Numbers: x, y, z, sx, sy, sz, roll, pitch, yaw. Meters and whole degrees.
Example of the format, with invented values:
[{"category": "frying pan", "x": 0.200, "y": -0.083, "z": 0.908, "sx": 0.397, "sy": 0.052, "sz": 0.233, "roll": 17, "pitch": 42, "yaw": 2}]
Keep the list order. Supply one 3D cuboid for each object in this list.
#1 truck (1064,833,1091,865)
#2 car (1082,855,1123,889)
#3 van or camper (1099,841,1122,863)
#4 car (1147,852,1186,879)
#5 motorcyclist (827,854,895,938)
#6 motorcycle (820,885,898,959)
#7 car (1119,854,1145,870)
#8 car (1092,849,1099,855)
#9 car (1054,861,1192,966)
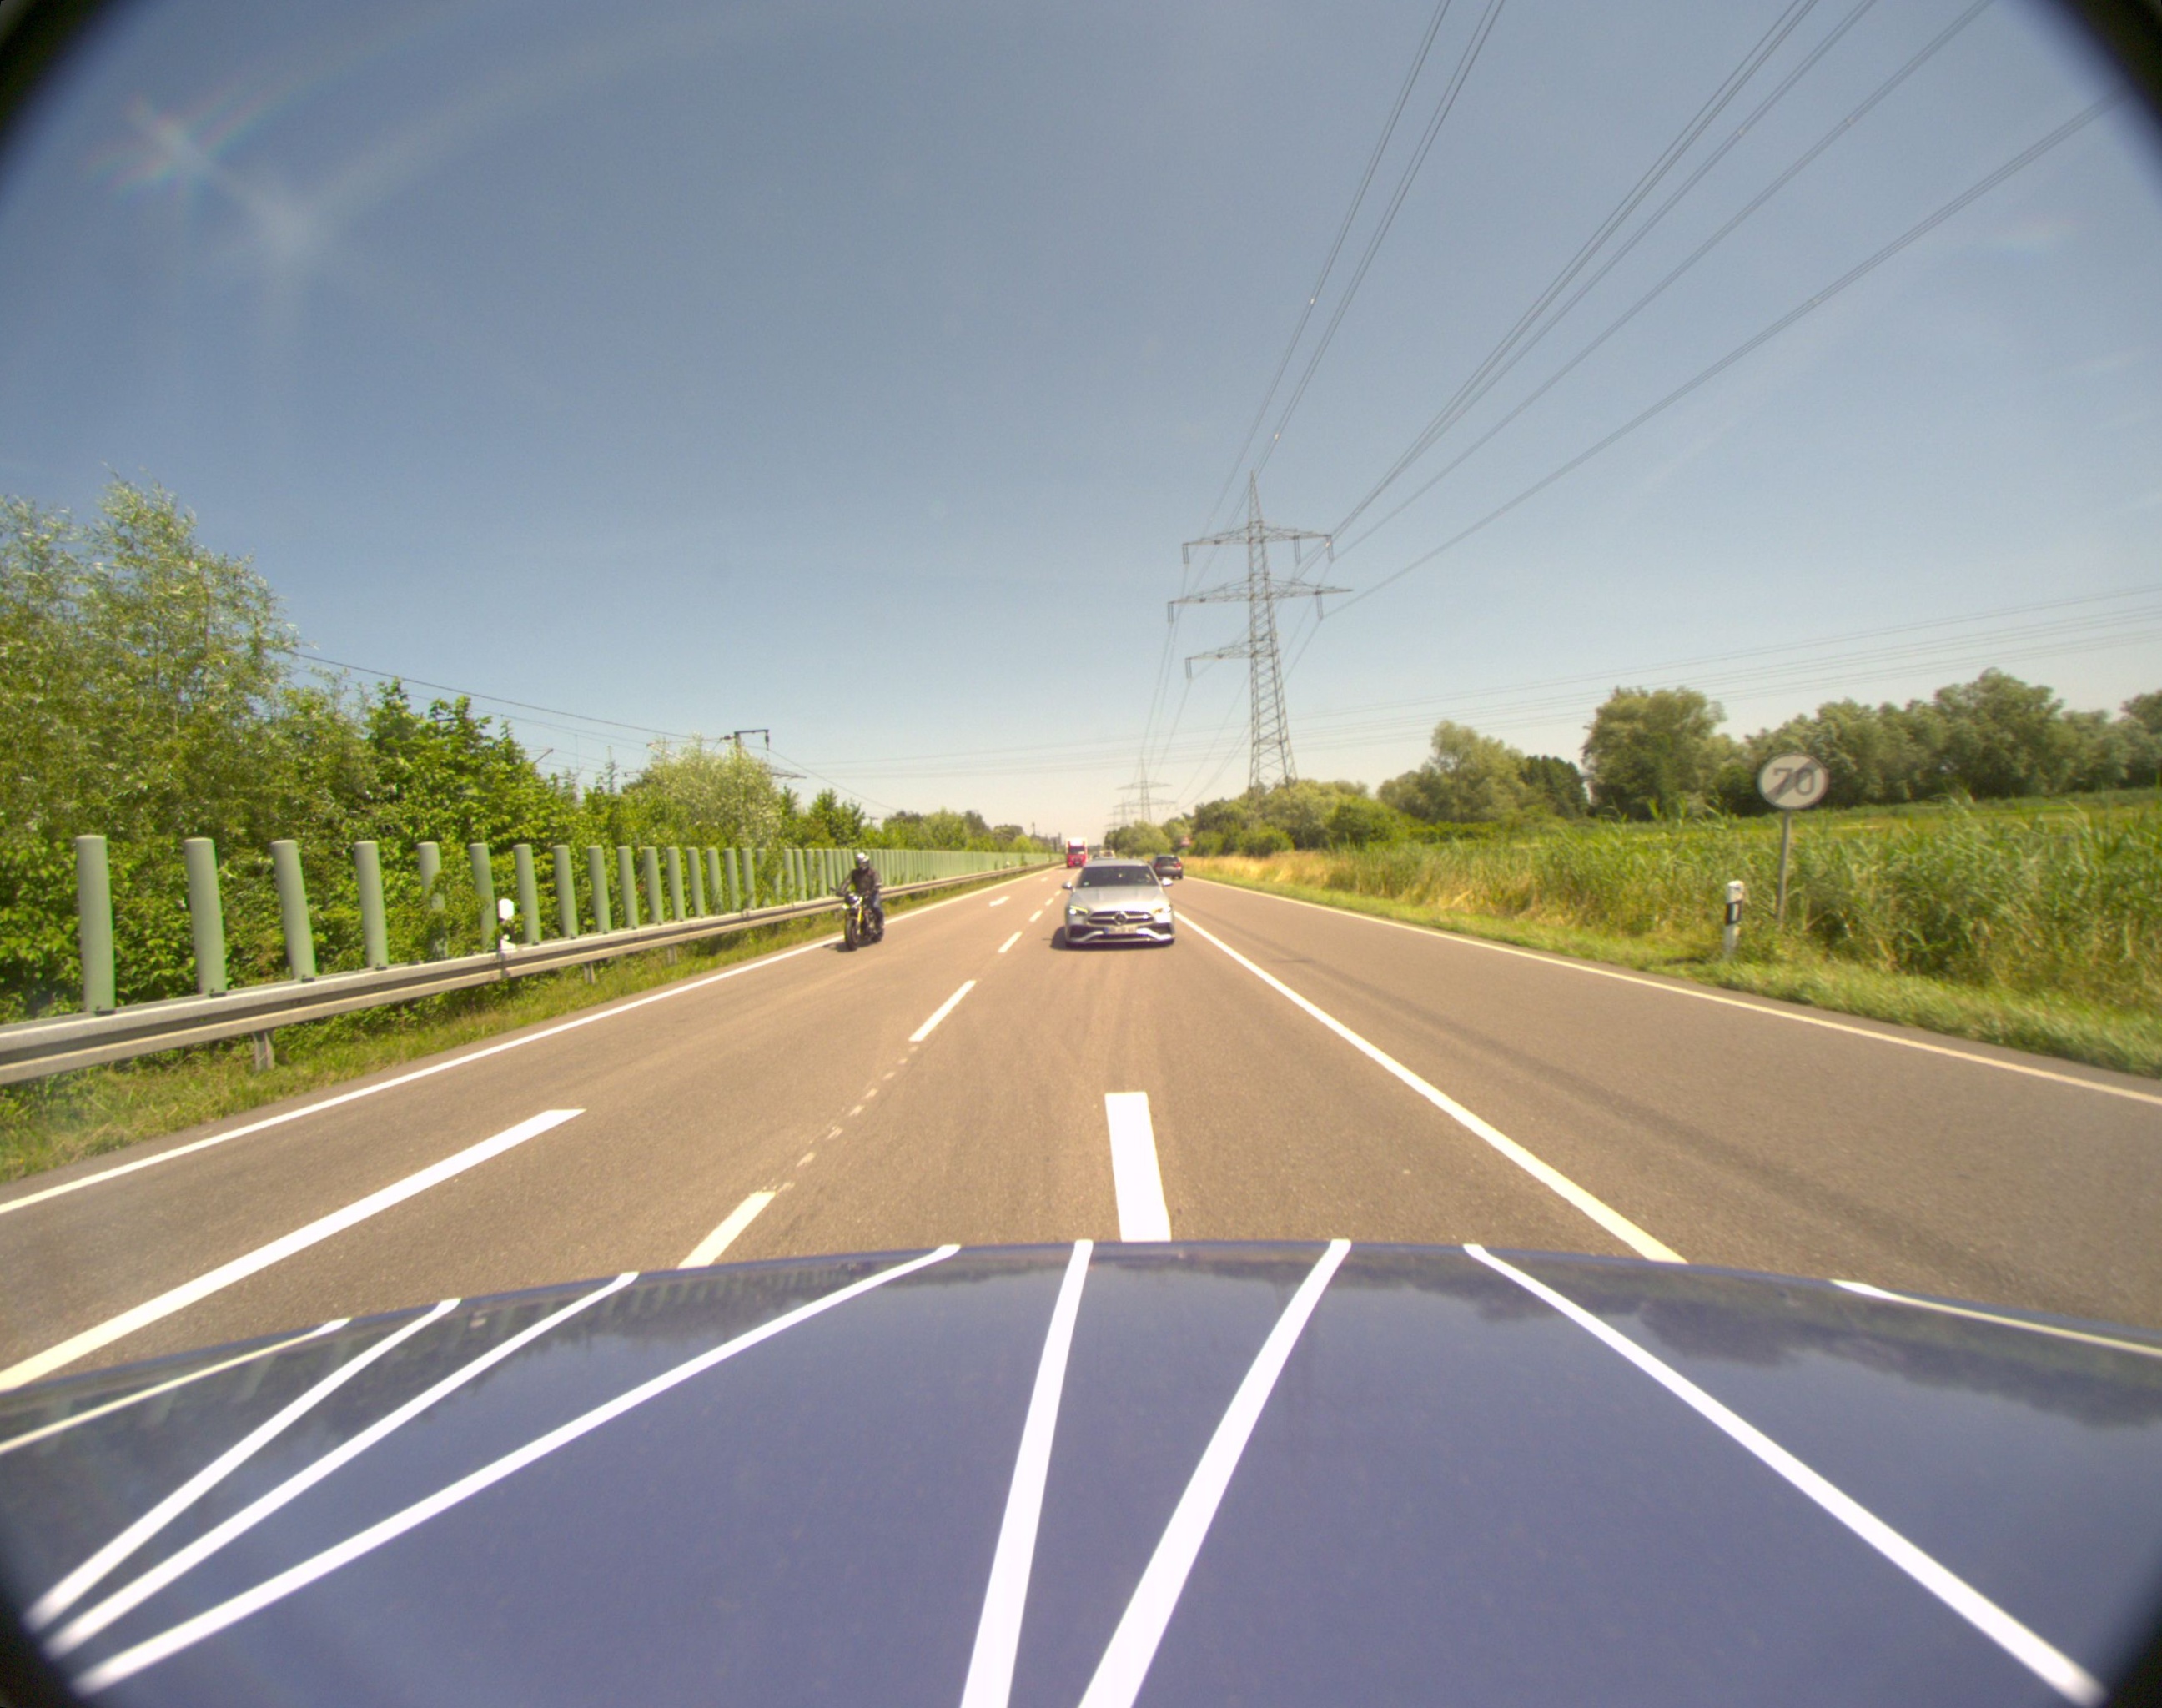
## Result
[{"category": "truck", "x": -0.338, "y": -0.571, "z": 94.390, "sx": 2.907, "sy": 3.641, "sz": 7.156, "roll": -4, "pitch": 0, "yaw": 1}, {"category": "car", "x": 1.003, "y": 0.776, "z": 34.740, "sx": 1.697, "sy": 1.385, "sz": 4.468, "roll": -2, "pitch": 0, "yaw": 2}, {"category": "van or camper", "x": 4.100, "y": -0.321, "z": 105.848, "sx": 2.578, "sy": 2.865, "sz": 6.744, "roll": -2, "pitch": 1, "yaw": -2}, {"category": "car", "x": 4.996, "y": 0.647, "z": 44.800, "sx": 1.749, "sy": 1.425, "sz": 4.322, "roll": -2, "pitch": 0, "yaw": 0}, {"category": "motorcyclist", "x": -4.059, "y": 0.751, "z": 14.089, "sx": 0.892, "sy": 1.468, "sz": 1.002, "roll": -2, "pitch": 1, "yaw": 1}, {"category": "motorcycle", "x": -4.038, "y": 1.213, "z": 13.987, "sx": 0.792, "sy": 1.151, "sz": 1.901, "roll": -3, "pitch": 0, "yaw": 0}, {"category": "car", "x": 4.386, "y": 0.689, "z": 65.533, "sx": 1.864, "sy": 1.221, "sz": 4.322, "roll": -2, "pitch": 0, "yaw": 0}, {"category": "car", "x": 5.121, "y": -0.689, "z": 262.982, "sx": 2.145, "sy": 2.002, "sz": 4.568, "roll": -3, "pitch": 0, "yaw": -1}, {"category": "car", "x": 0.675, "y": 0.905, "z": 13.505, "sx": 1.998, "sy": 1.437, "sz": 4.467, "roll": -2, "pitch": 0, "yaw": 1}]
